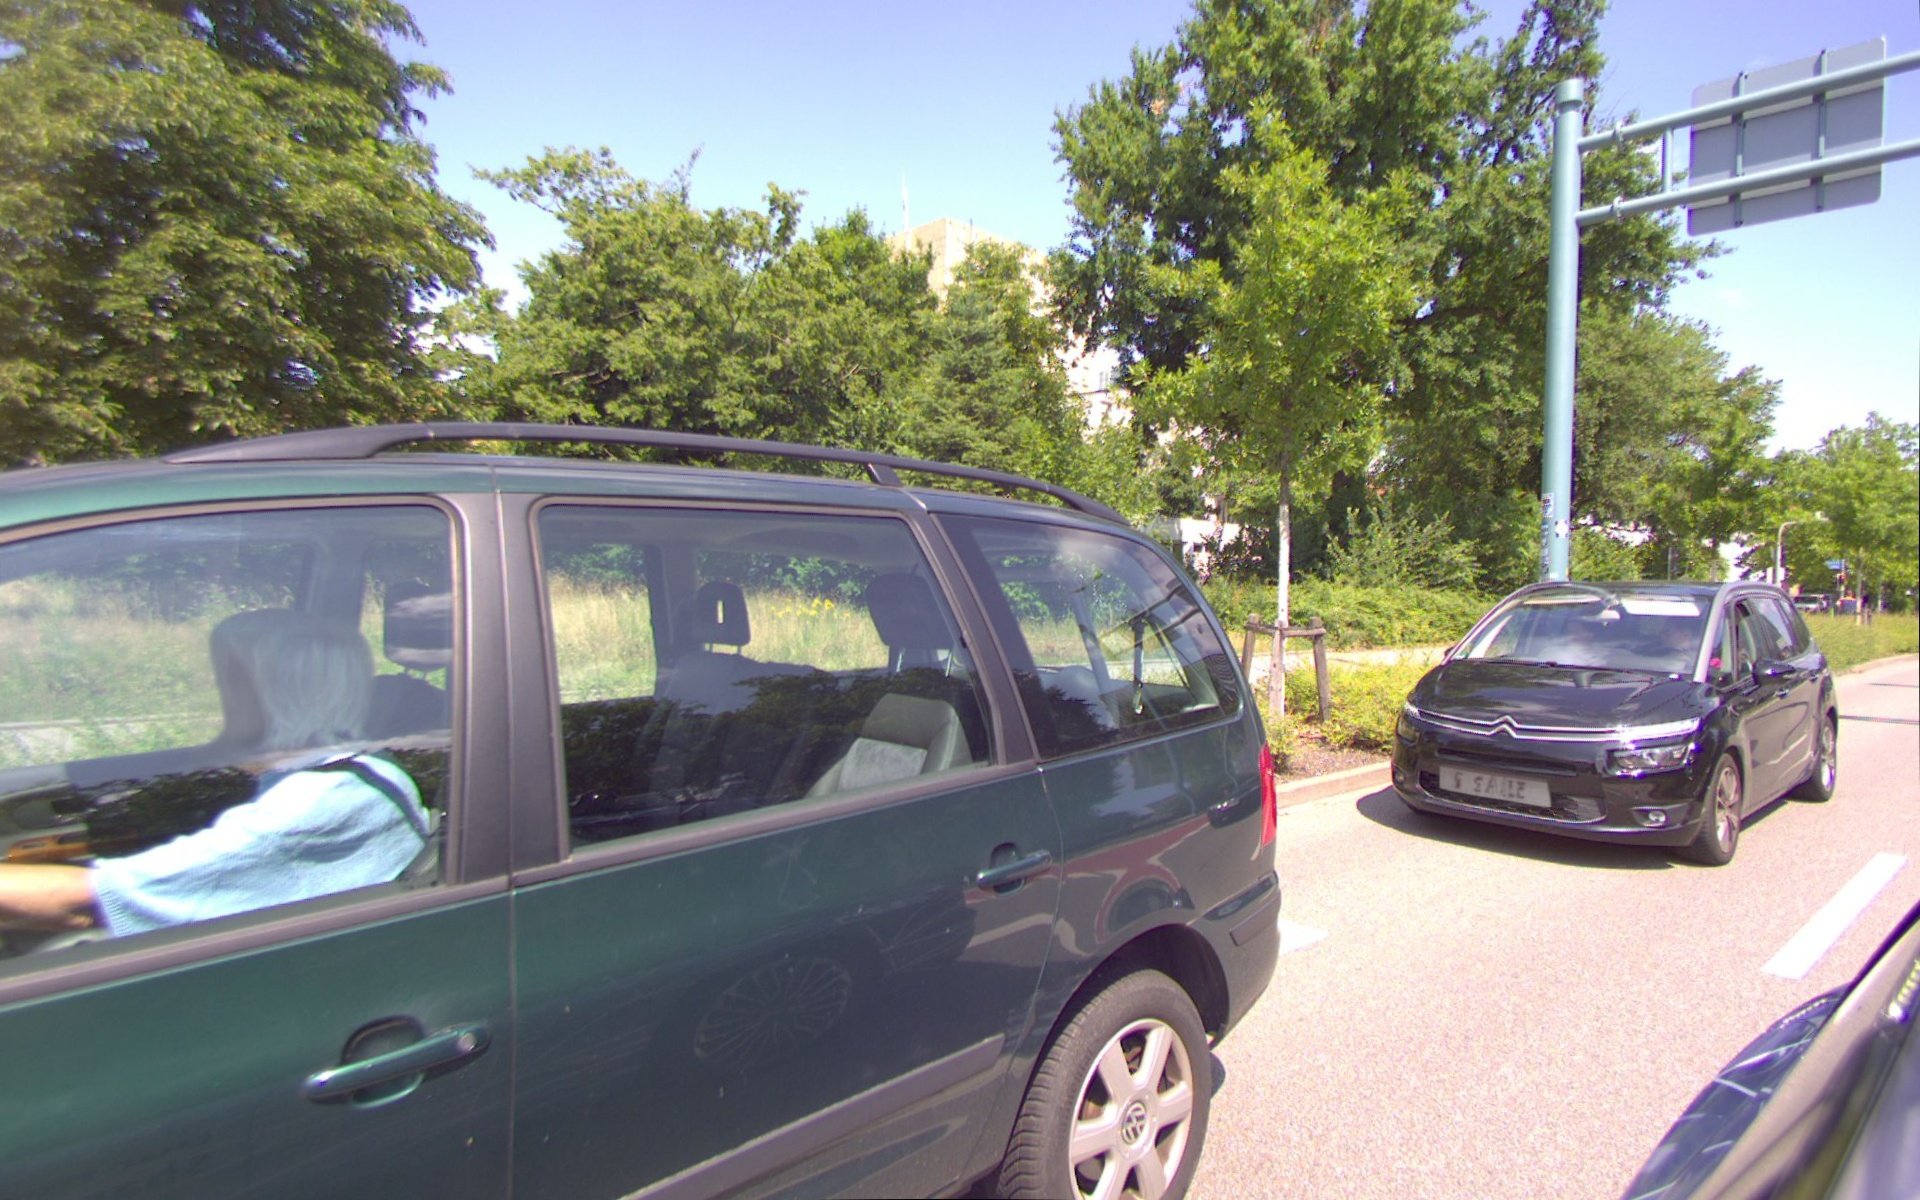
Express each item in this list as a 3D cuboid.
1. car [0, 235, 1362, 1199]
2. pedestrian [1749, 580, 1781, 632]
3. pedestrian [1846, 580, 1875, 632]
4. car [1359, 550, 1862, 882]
[{"bbox_3d":[-1.135,0.527,1.962,4.315,1.737,1.804,0,-1,-41],"label":"car"},{"bbox_3d":[32.515,0.224,40.889,0.839,2.063,0.891,1,0,31],"label":"pedestrian"},{"bbox_3d":[31.948,0.210,35.902,0.871,1.787,0.638,1,1,-43],"label":"pedestrian"},{"bbox_3d":[4.757,0.583,7.114,4.400,1.628,1.815,1,-1,-41],"label":"car"}]
